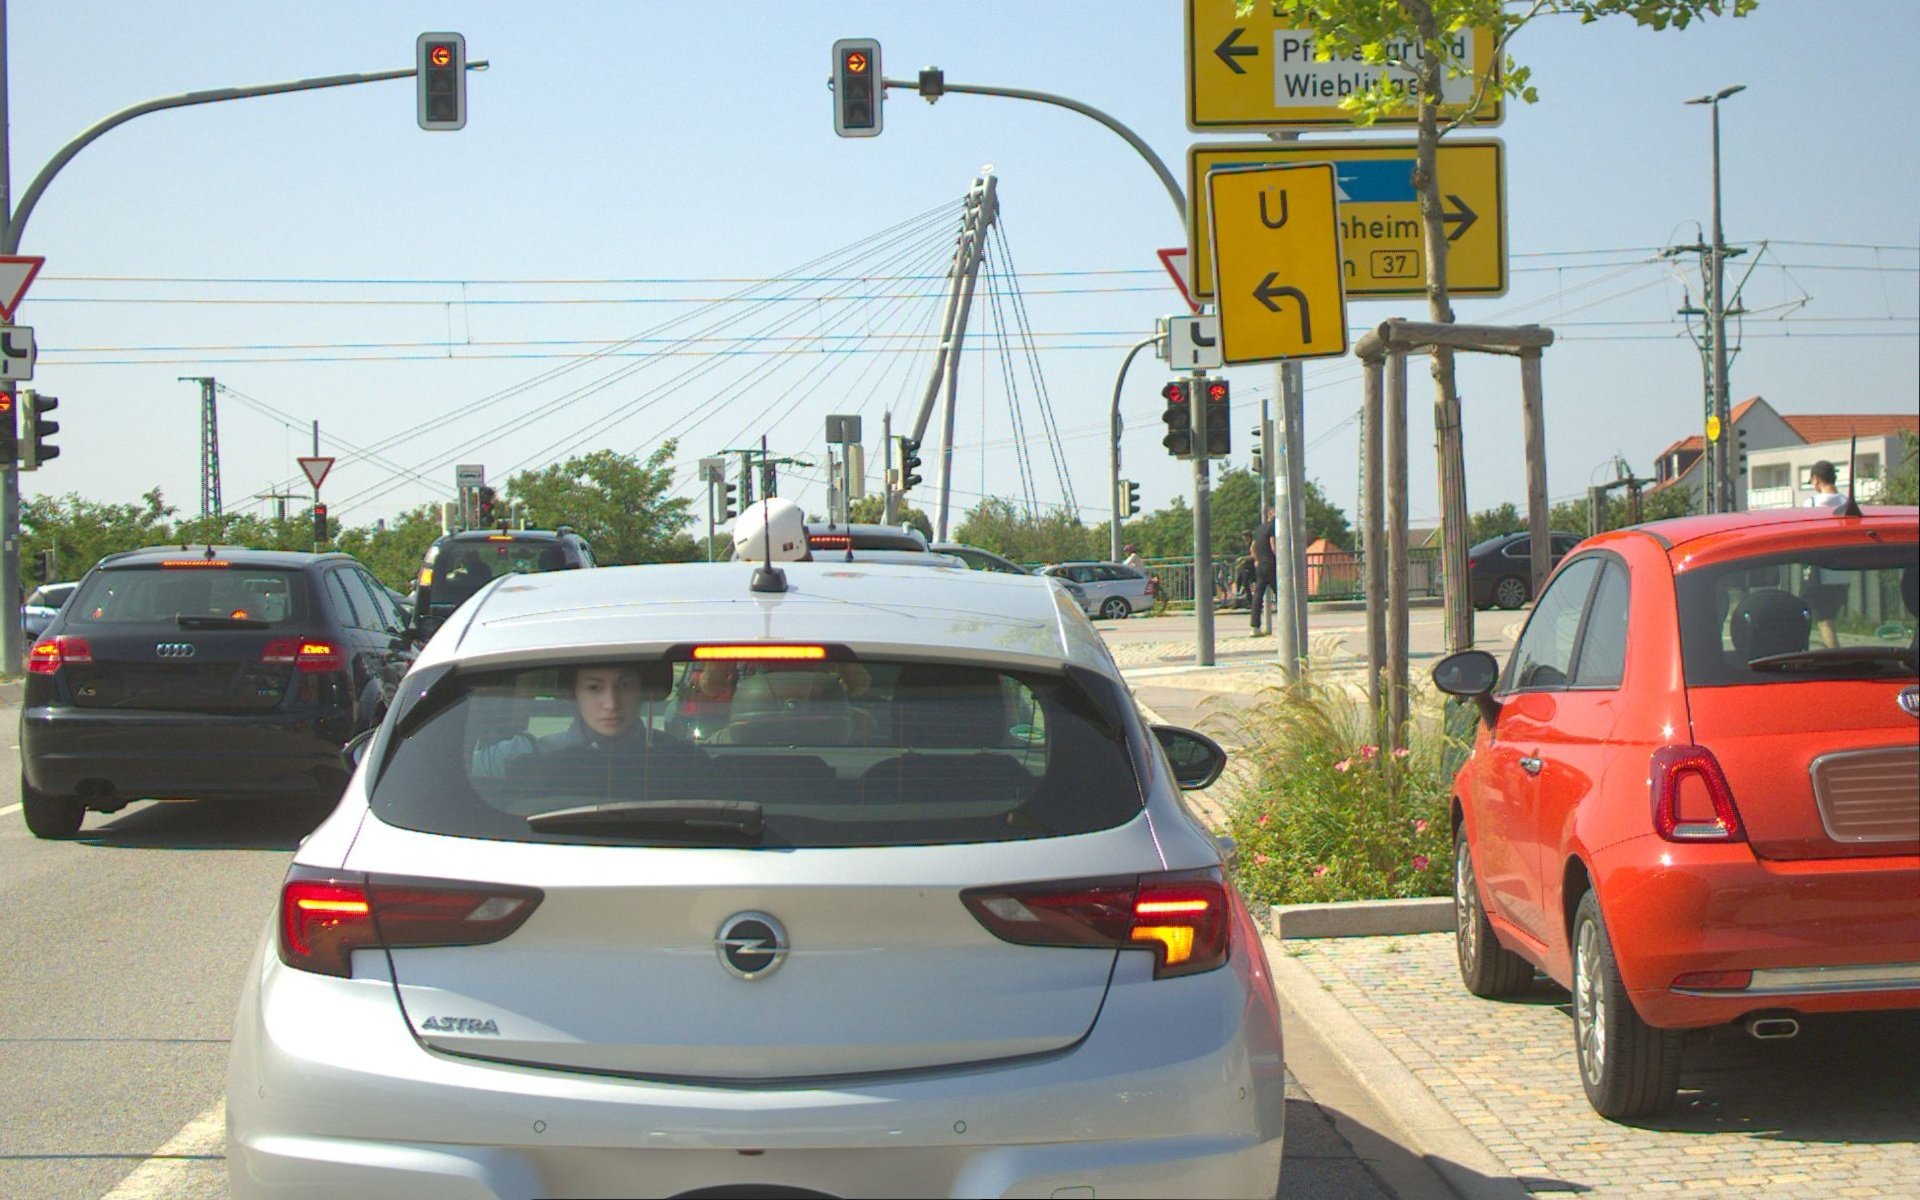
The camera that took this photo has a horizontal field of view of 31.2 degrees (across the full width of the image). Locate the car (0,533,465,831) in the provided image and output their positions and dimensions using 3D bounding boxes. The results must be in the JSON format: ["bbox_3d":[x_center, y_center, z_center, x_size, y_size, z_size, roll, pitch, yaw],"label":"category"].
[{"bbox_3d":[-3.752,0.383,18.221,1.705,1.407,4.000,0,0,0],"label":"car"}]

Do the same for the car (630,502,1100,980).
[{"bbox_3d":[-0.380,0.499,14.123,1.634,1.668,3.745,1,0,-1],"label":"car"}]

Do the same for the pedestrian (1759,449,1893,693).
[{"bbox_3d":[6.606,-0.217,26.249,0.758,1.823,0.885,1,0,-1],"label":"pedestrian"}]

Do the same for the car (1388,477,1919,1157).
[{"bbox_3d":[2.364,0.442,10.039,1.669,1.534,3.917,-2,2,0],"label":"car"}]

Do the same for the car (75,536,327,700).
[{"bbox_3d":[-6.767,0.148,30.922,1.587,1.390,3.340,0,0,-1],"label":"car"}]

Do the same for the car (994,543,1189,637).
[{"bbox_3d":[2.947,-0.214,77.275,3.986,2.007,2.000,-1,0,-11],"label":"car"}]

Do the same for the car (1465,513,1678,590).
[{"bbox_3d":[13.674,-1.074,76.956,4.244,1.668,2.001,0,0,-18],"label":"car"}]

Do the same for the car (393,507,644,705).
[{"bbox_3d":[-3.996,0.048,31.658,1.803,1.616,3.917,-3,0,-1],"label":"car"}]

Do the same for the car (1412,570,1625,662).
[{"bbox_3d":[10.426,0.301,64.275,3.506,1.635,1.801,1,0,-9],"label":"car"}]

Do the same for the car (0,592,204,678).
[{"bbox_3d":[-15.082,0.607,60.357,3.145,1.434,1.585,1,0,11],"label":"car"}]

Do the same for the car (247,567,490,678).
[{"bbox_3d":[-10.896,0.396,63.466,3.988,2.007,1.999,0,0,10],"label":"car"}]

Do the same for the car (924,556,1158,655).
[{"bbox_3d":[1.368,0.093,59.394,3.815,1.623,1.857,1,0,-6],"label":"car"}]

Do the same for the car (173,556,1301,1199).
[{"bbox_3d":[-0.380,0.668,7.304,1.690,1.514,4.271,0,1,-1],"label":"car"}]

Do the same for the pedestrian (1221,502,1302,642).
[{"bbox_3d":[4.049,-0.378,46.151,0.753,1.857,0.740,1,0,41],"label":"pedestrian"}]
